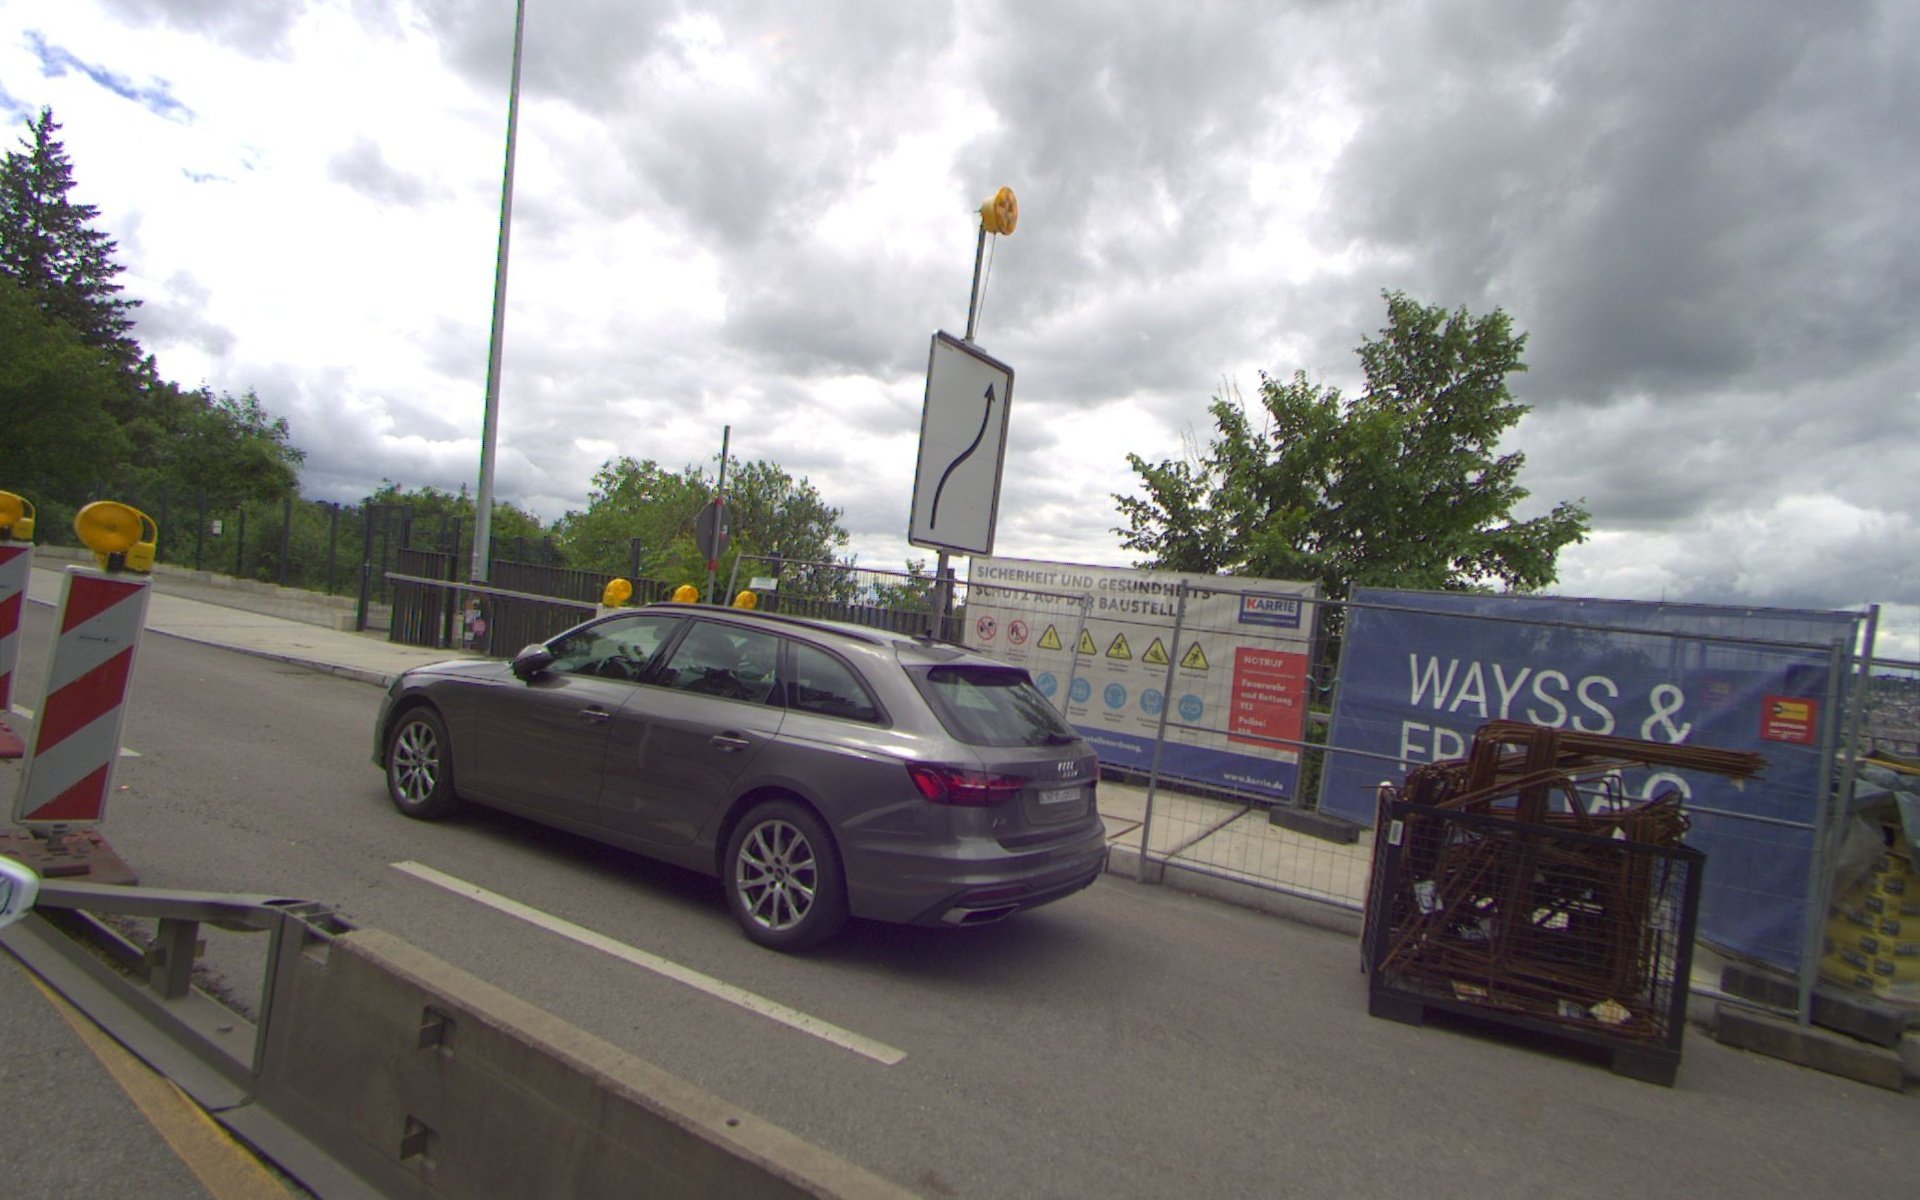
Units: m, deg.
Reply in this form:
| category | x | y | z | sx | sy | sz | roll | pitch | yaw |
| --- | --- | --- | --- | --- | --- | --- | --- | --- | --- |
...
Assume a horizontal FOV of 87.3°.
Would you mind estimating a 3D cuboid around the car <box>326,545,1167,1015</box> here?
| category | x | y | z | sx | sy | sz | roll | pitch | yaw |
| --- | --- | --- | --- | --- | --- | --- | --- | --- | --- |
| car | -1.374 | 0.702 | 5.762 | 4.550 | 1.472 | 1.844 | 6 | -2 | 31 |
